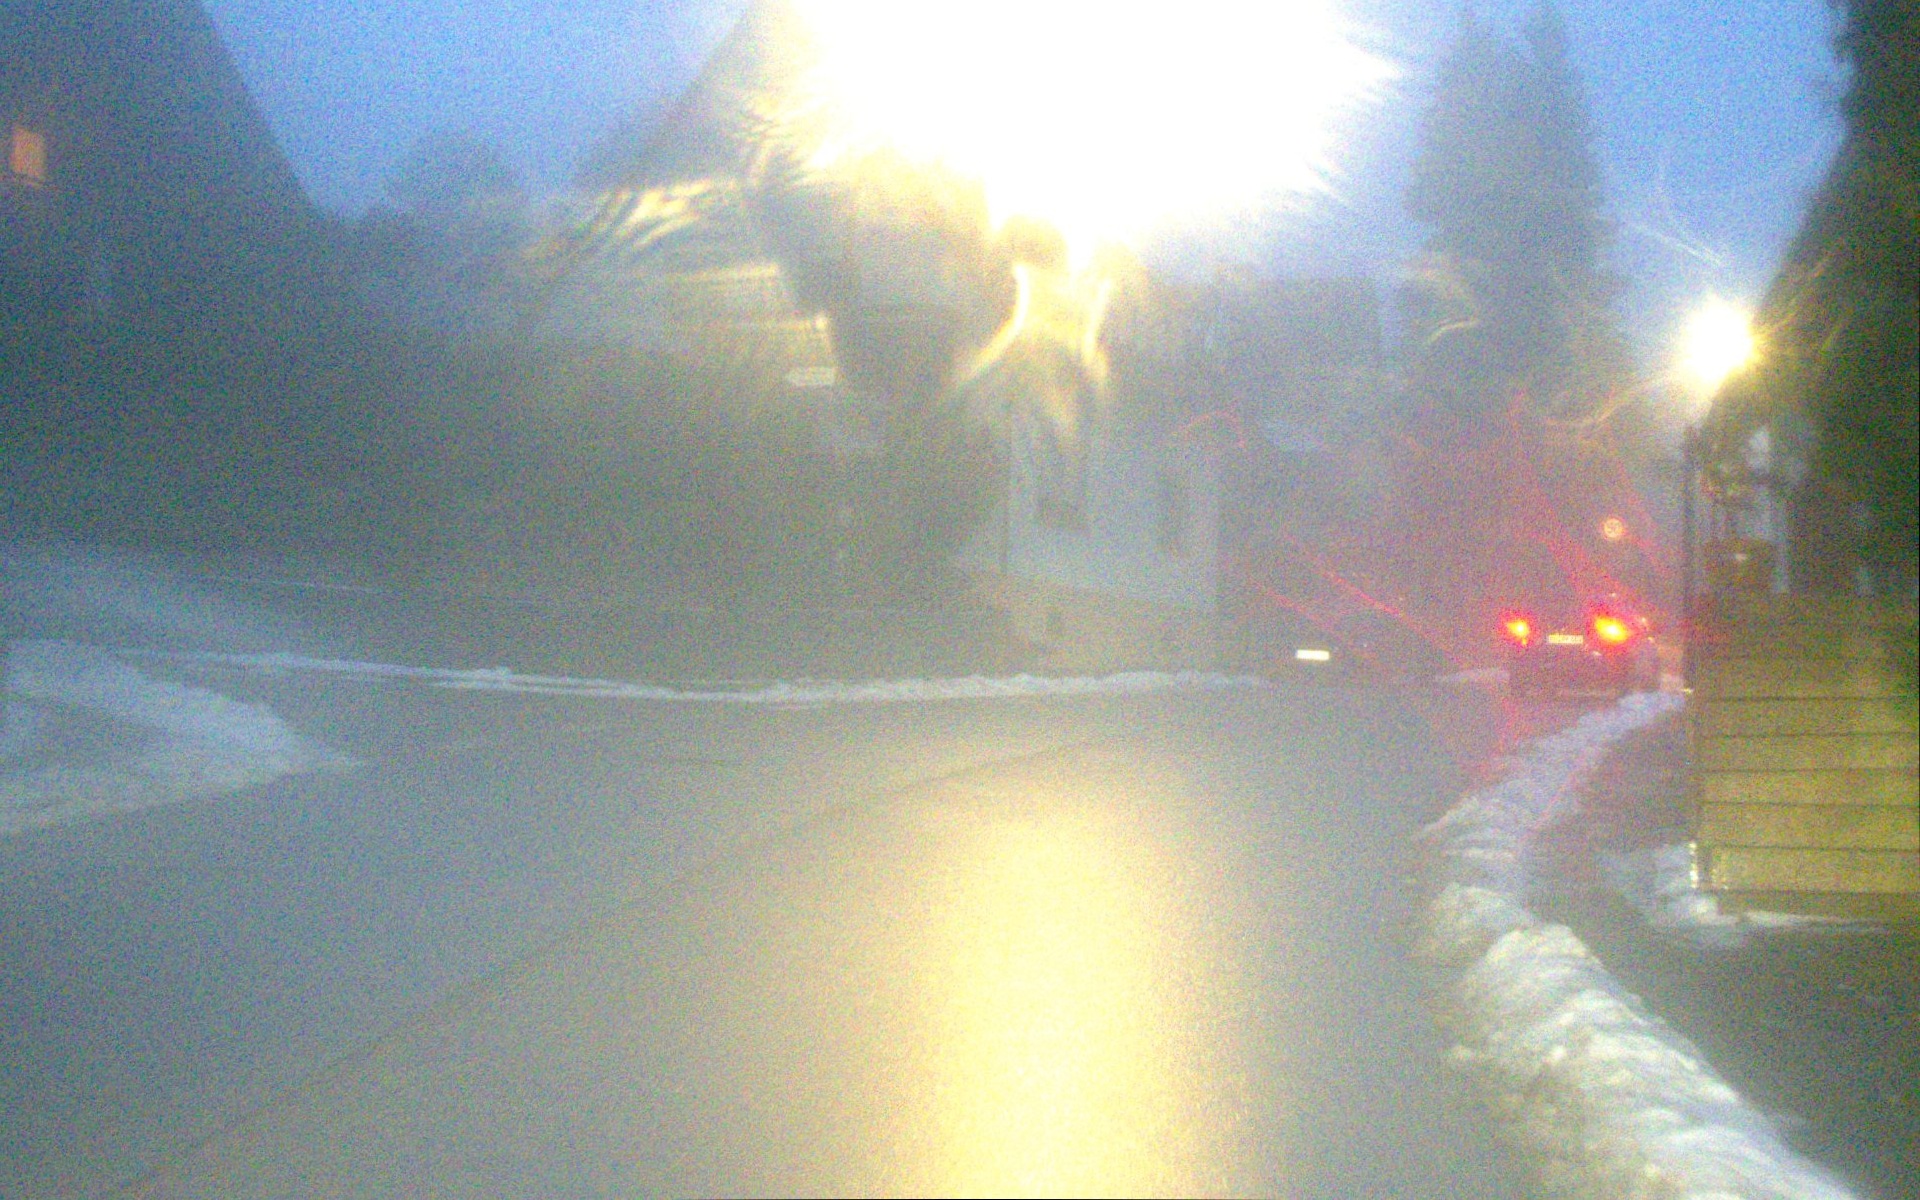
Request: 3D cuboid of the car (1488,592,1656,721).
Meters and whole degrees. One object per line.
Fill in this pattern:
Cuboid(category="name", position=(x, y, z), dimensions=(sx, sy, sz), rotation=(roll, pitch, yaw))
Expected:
Cuboid(category="car", position=(8.804, 0.850, 49.273), dimensions=(1.995, 1.731, 3.875), rotation=(-1, -3, 15))

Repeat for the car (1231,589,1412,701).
Cuboid(category="car", position=(5.793, 0.751, 54.709), dimensions=(1.995, 1.645, 3.996), rotation=(-2, -3, 19))
